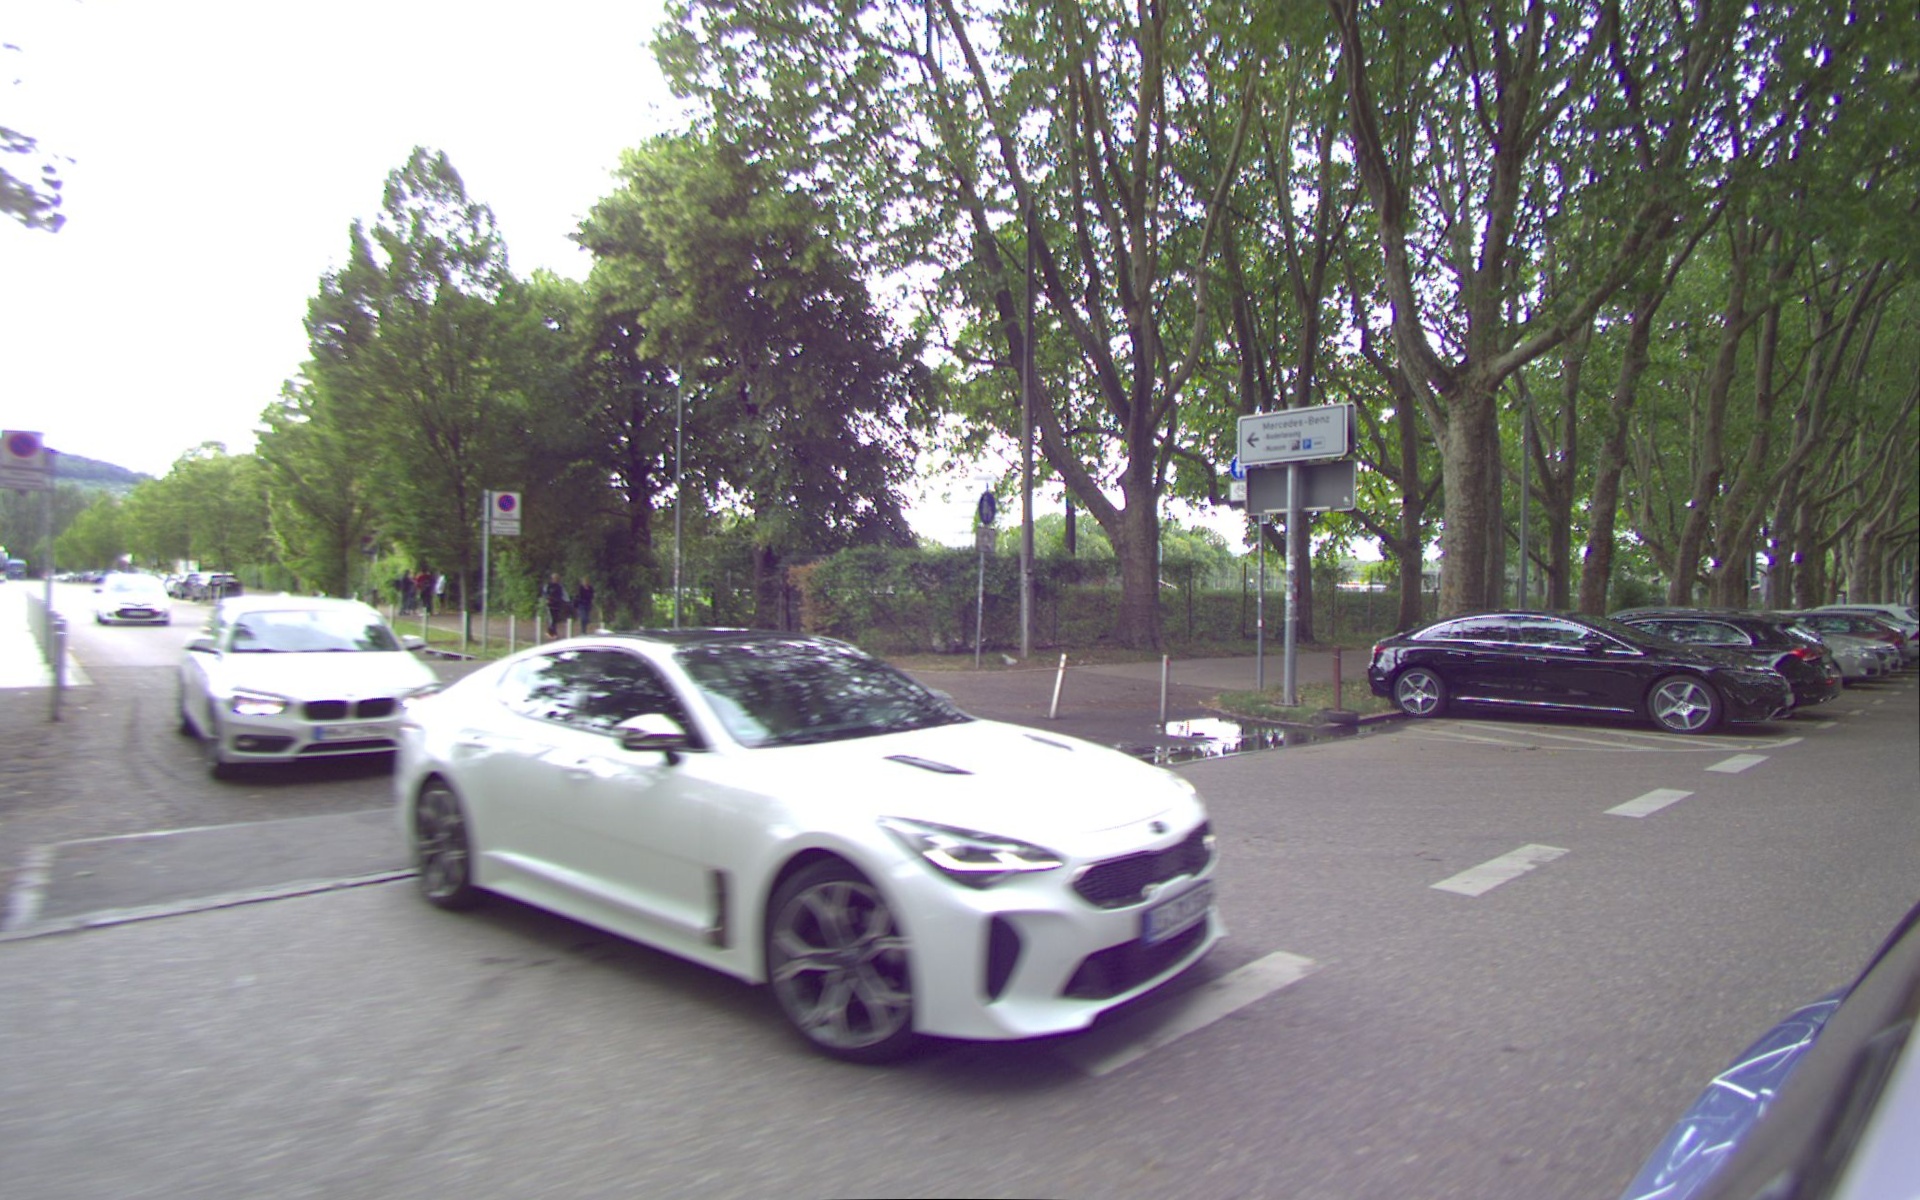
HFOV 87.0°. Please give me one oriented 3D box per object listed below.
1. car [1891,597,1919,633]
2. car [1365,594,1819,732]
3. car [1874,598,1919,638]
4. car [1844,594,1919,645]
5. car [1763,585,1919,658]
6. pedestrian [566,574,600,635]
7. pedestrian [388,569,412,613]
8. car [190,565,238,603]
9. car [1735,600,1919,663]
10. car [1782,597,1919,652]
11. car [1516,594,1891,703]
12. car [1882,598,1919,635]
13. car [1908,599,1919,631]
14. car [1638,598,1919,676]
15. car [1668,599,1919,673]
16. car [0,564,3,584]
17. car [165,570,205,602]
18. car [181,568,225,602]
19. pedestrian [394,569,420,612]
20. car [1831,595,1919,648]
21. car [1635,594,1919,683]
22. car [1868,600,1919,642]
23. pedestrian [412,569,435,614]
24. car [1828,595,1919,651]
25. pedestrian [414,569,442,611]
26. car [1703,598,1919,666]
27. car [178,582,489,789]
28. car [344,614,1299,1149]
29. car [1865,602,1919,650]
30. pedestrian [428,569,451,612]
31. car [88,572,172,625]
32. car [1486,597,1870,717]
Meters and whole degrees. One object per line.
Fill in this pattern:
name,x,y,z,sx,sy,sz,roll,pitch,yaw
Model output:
car,48.643,0.714,49.172,1.963,1.773,4.676,0,-2,-36
car,8.262,0.755,13.632,1.966,1.525,4.823,0,-2,-43
car,43.814,0.782,44.781,1.963,1.773,4.676,0,-2,-36
car,34.752,0.671,35.969,1.963,1.773,4.676,0,-2,-36
car,25.436,0.589,27.989,1.962,1.927,4.676,0,-2,-36
pedestrian,-10.076,0.118,27.023,0.685,1.587,0.725,0,0,-35
pedestrian,-21.289,-0.332,38.483,0.711,1.664,0.698,0,0,-35
car,-42.545,-0.896,57.657,1.965,2.039,3.994,0,0,-40
car,23.421,0.810,26.427,1.963,1.543,4.676,0,-2,-36
car,28.818,0.757,31.493,1.963,1.632,4.676,0,-2,-36
car,12.051,0.747,16.670,1.966,1.543,4.668,0,-2,-43
car,46.593,0.754,47.411,1.963,1.773,4.676,0,-2,-36
car,54.514,0.764,54.561,1.963,1.773,4.676,0,-2,-36
car,17.974,0.741,22.295,1.868,1.542,4.678,0,-1,-35
car,19.704,0.814,23.723,1.962,1.543,4.677,0,-1,-35
car,-95.675,-2.571,99.479,1.964,2.039,3.996,0,0,-39
car,-51.061,-0.917,66.646,1.965,2.039,3.994,0,0,-40
car,-46.421,-0.908,62.010,1.965,2.039,3.994,0,0,-40
pedestrian,-21.706,-0.360,39.732,0.722,1.664,0.688,0,0,42
car,33.099,0.714,34.590,1.963,1.773,4.676,0,-2,-36
car,16.193,0.679,20.252,1.788,1.544,4.106,0,0,-32
car,41.459,0.855,42.460,1.963,1.773,4.676,0,-2,-36
pedestrian,-20.250,-0.310,38.212,0.685,1.664,0.725,0,0,-35
car,31.183,0.745,32.899,1.963,1.773,4.118,0,-2,-36
pedestrian,-21.086,-0.390,40.129,0.686,1.664,0.724,0,0,5
car,21.537,0.772,25.053,1.963,1.543,4.676,0,-2,-36
car,-6.134,0.607,9.664,1.754,1.480,4.282,0,1,-43
car,-0.990,0.783,4.946,4.653,1.401,1.973,-1,0,38
car,36.773,0.928,37.343,1.963,1.773,4.676,0,-2,-36
pedestrian,-20.213,-0.359,39.313,0.711,1.664,0.698,0,0,-35
car,-25.551,-0.091,31.116,1.754,1.480,4.282,0,1,-43
car,10.531,0.719,15.085,1.966,1.496,4.376,-1,0,-43
